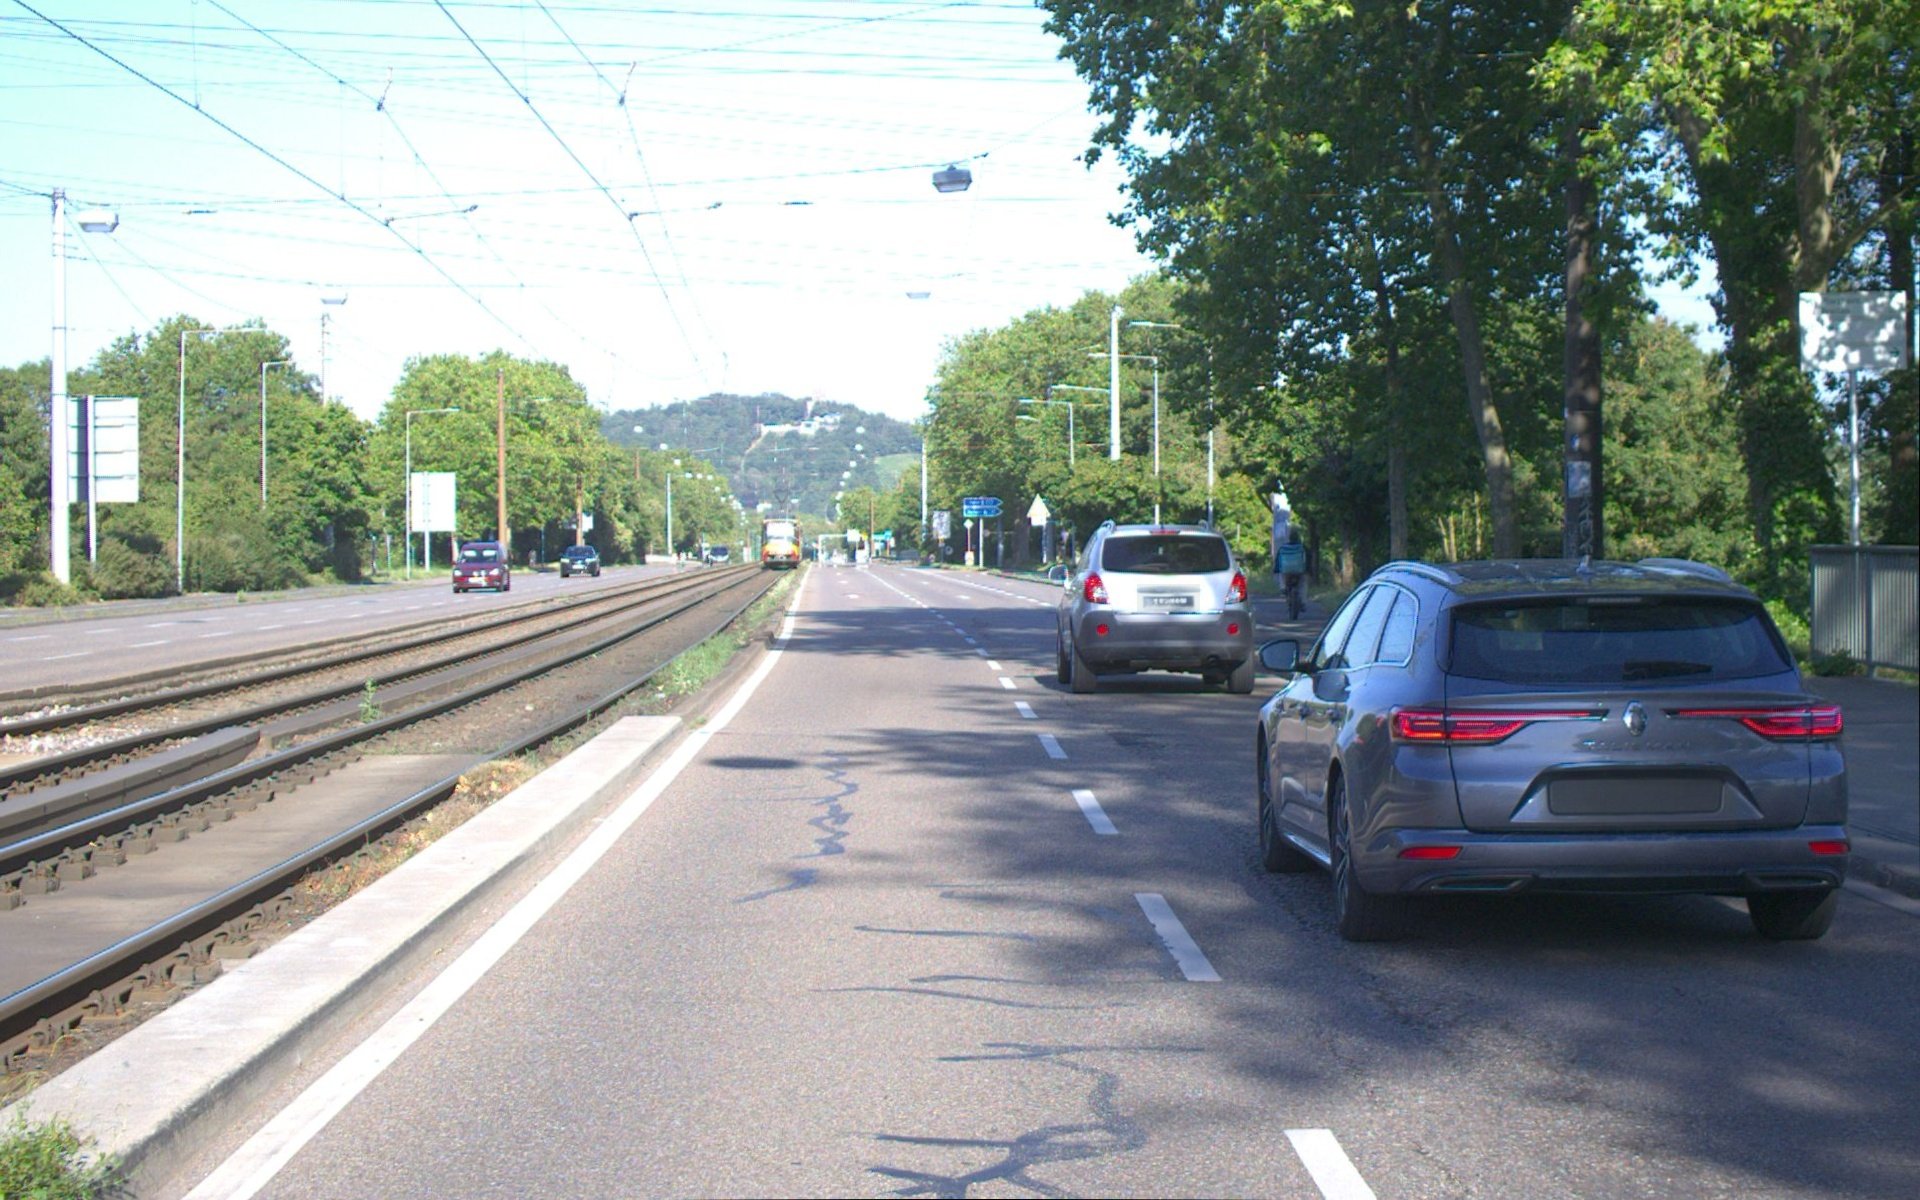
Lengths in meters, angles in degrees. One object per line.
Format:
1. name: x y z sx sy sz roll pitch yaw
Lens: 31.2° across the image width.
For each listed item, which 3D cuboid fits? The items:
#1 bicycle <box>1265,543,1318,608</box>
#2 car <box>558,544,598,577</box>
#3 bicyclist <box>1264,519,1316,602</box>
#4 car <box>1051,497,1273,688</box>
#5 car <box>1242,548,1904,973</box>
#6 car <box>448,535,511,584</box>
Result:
1. bicycle: 5.971 -0.447 62.054 0.795 1.090 1.894 -3 2 2
2. car: -20.180 -2.094 181.629 1.905 1.638 4.001 2 2 -4
3. bicyclist: 5.946 -0.719 61.975 0.795 1.455 1.112 -3 1 2
4. car: 2.027 -0.131 35.586 1.883 1.789 4.001 2 2 -2
5. car: 2.320 0.522 14.269 1.866 1.462 4.666 0 1 -1
6. car: -17.459 -1.492 125.070 1.862 1.714 4.001 0 2 -2
